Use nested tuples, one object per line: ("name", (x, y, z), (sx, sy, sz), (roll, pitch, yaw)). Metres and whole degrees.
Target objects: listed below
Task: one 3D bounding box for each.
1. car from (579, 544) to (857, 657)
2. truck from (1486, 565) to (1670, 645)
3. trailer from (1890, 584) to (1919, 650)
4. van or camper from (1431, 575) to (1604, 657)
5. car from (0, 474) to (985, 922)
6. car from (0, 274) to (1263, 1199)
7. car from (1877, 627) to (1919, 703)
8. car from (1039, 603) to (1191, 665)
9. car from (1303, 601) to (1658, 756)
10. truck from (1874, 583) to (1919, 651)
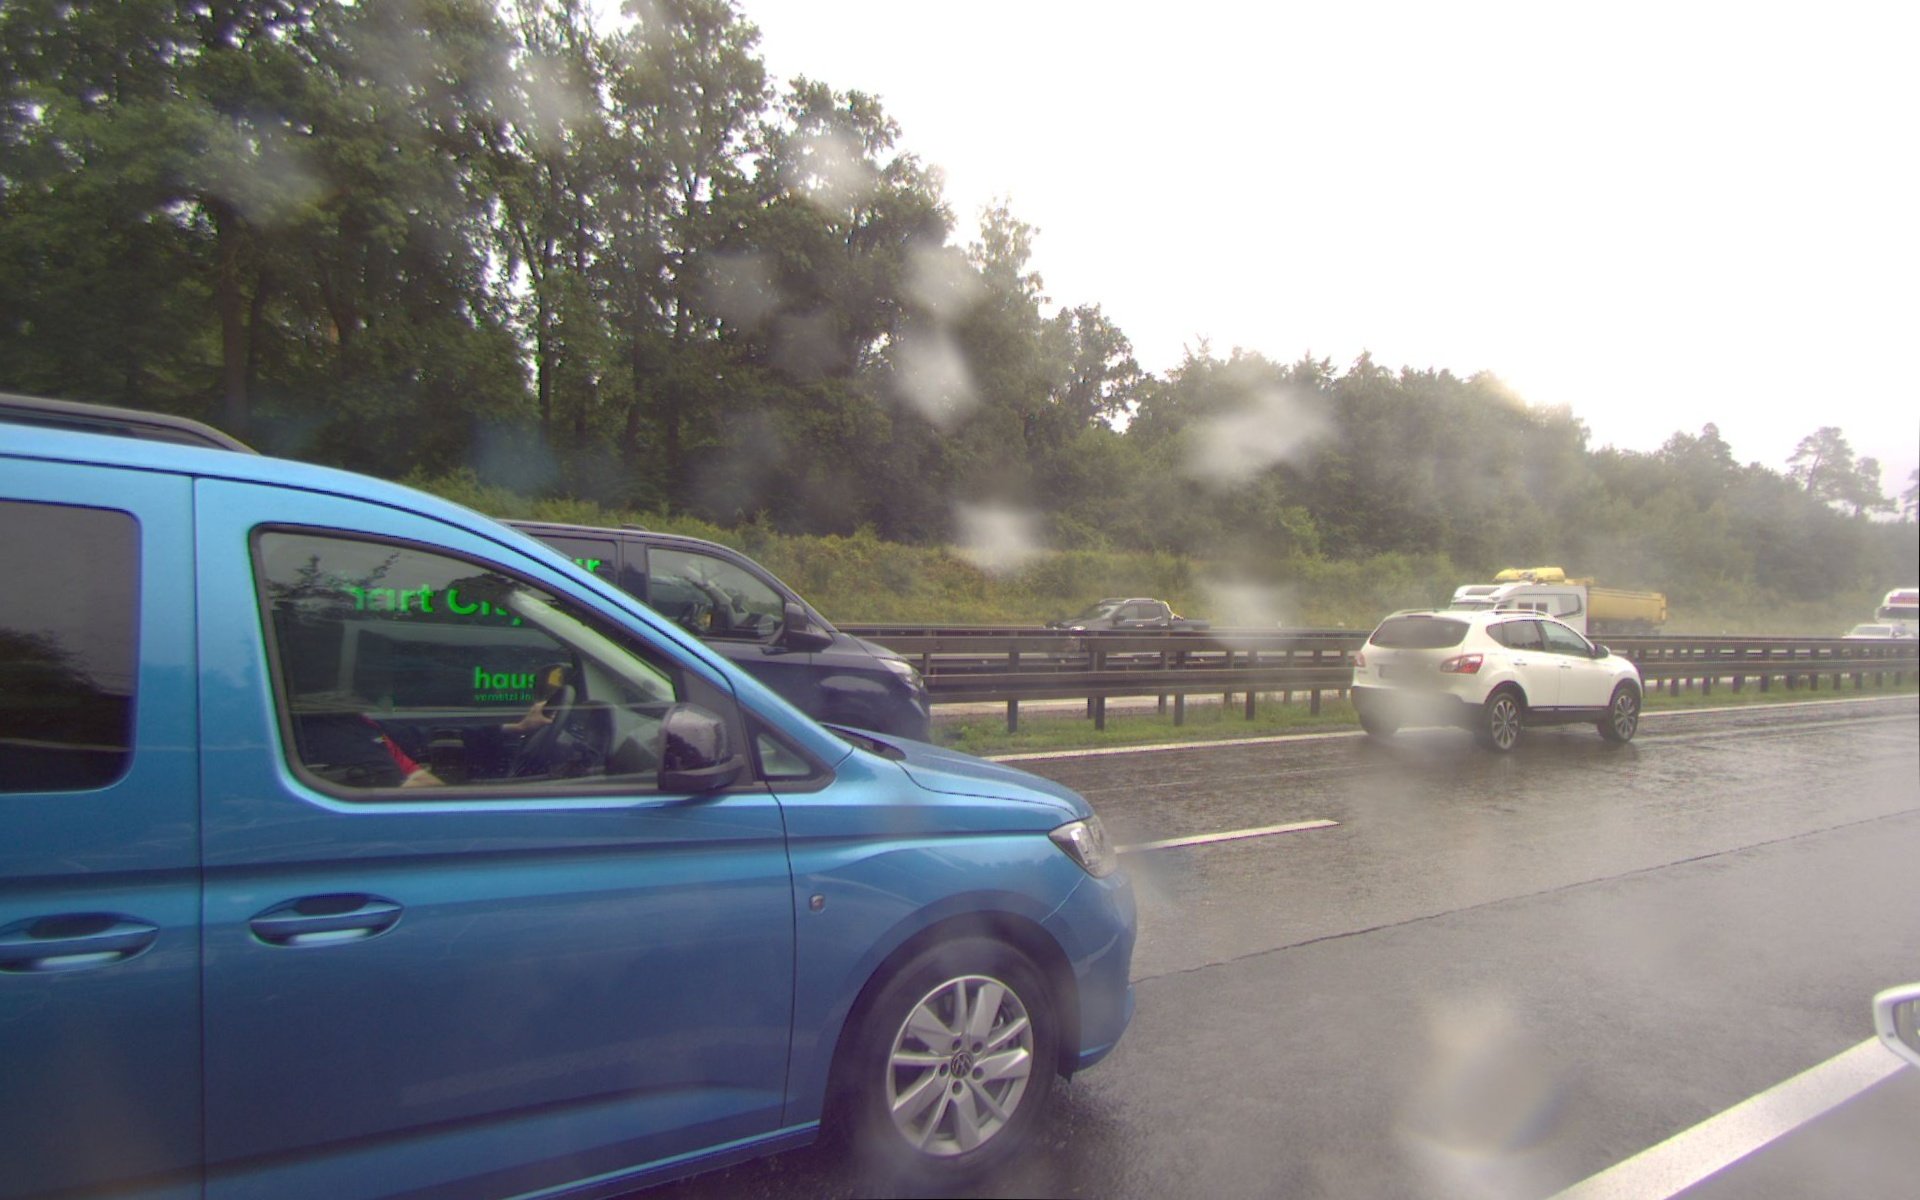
("car", (-3.795, 0.038, 15.906), (3.953, 1.600, 1.689), (1, 0, -31))
("truck", (29.926, 0.321, 48.330), (11.586, 3.530, 2.506), (1, 0, -31))
("trailer", (65.017, 1.202, 65.835), (13.699, 4.079, 2.526), (2, 0, -33))
("van or camper", (21.483, 0.627, 38.530), (7.911, 2.908, 2.155), (1, 0, -31))
("car", (-2.565, 0.480, 6.545), (5.181, 1.970, 1.981), (2, 0, -31))
("car", (-1.845, 0.461, 2.643), (4.954, 1.937, 2.259), (1, 0, -29))
("car", (22.593, 1.435, 22.455), (4.413, 1.613, 1.837), (1, 0, -30))
("car", (4.366, 0.947, 28.171), (3.953, 1.600, 1.836), (1, 0, -30))
("car", (6.524, 0.862, 12.485), (4.413, 1.613, 1.837), (1, 0, -30))
("truck", (59.484, 1.083, 62.252), (6.253, 4.079, 2.527), (1, 0, -32))
